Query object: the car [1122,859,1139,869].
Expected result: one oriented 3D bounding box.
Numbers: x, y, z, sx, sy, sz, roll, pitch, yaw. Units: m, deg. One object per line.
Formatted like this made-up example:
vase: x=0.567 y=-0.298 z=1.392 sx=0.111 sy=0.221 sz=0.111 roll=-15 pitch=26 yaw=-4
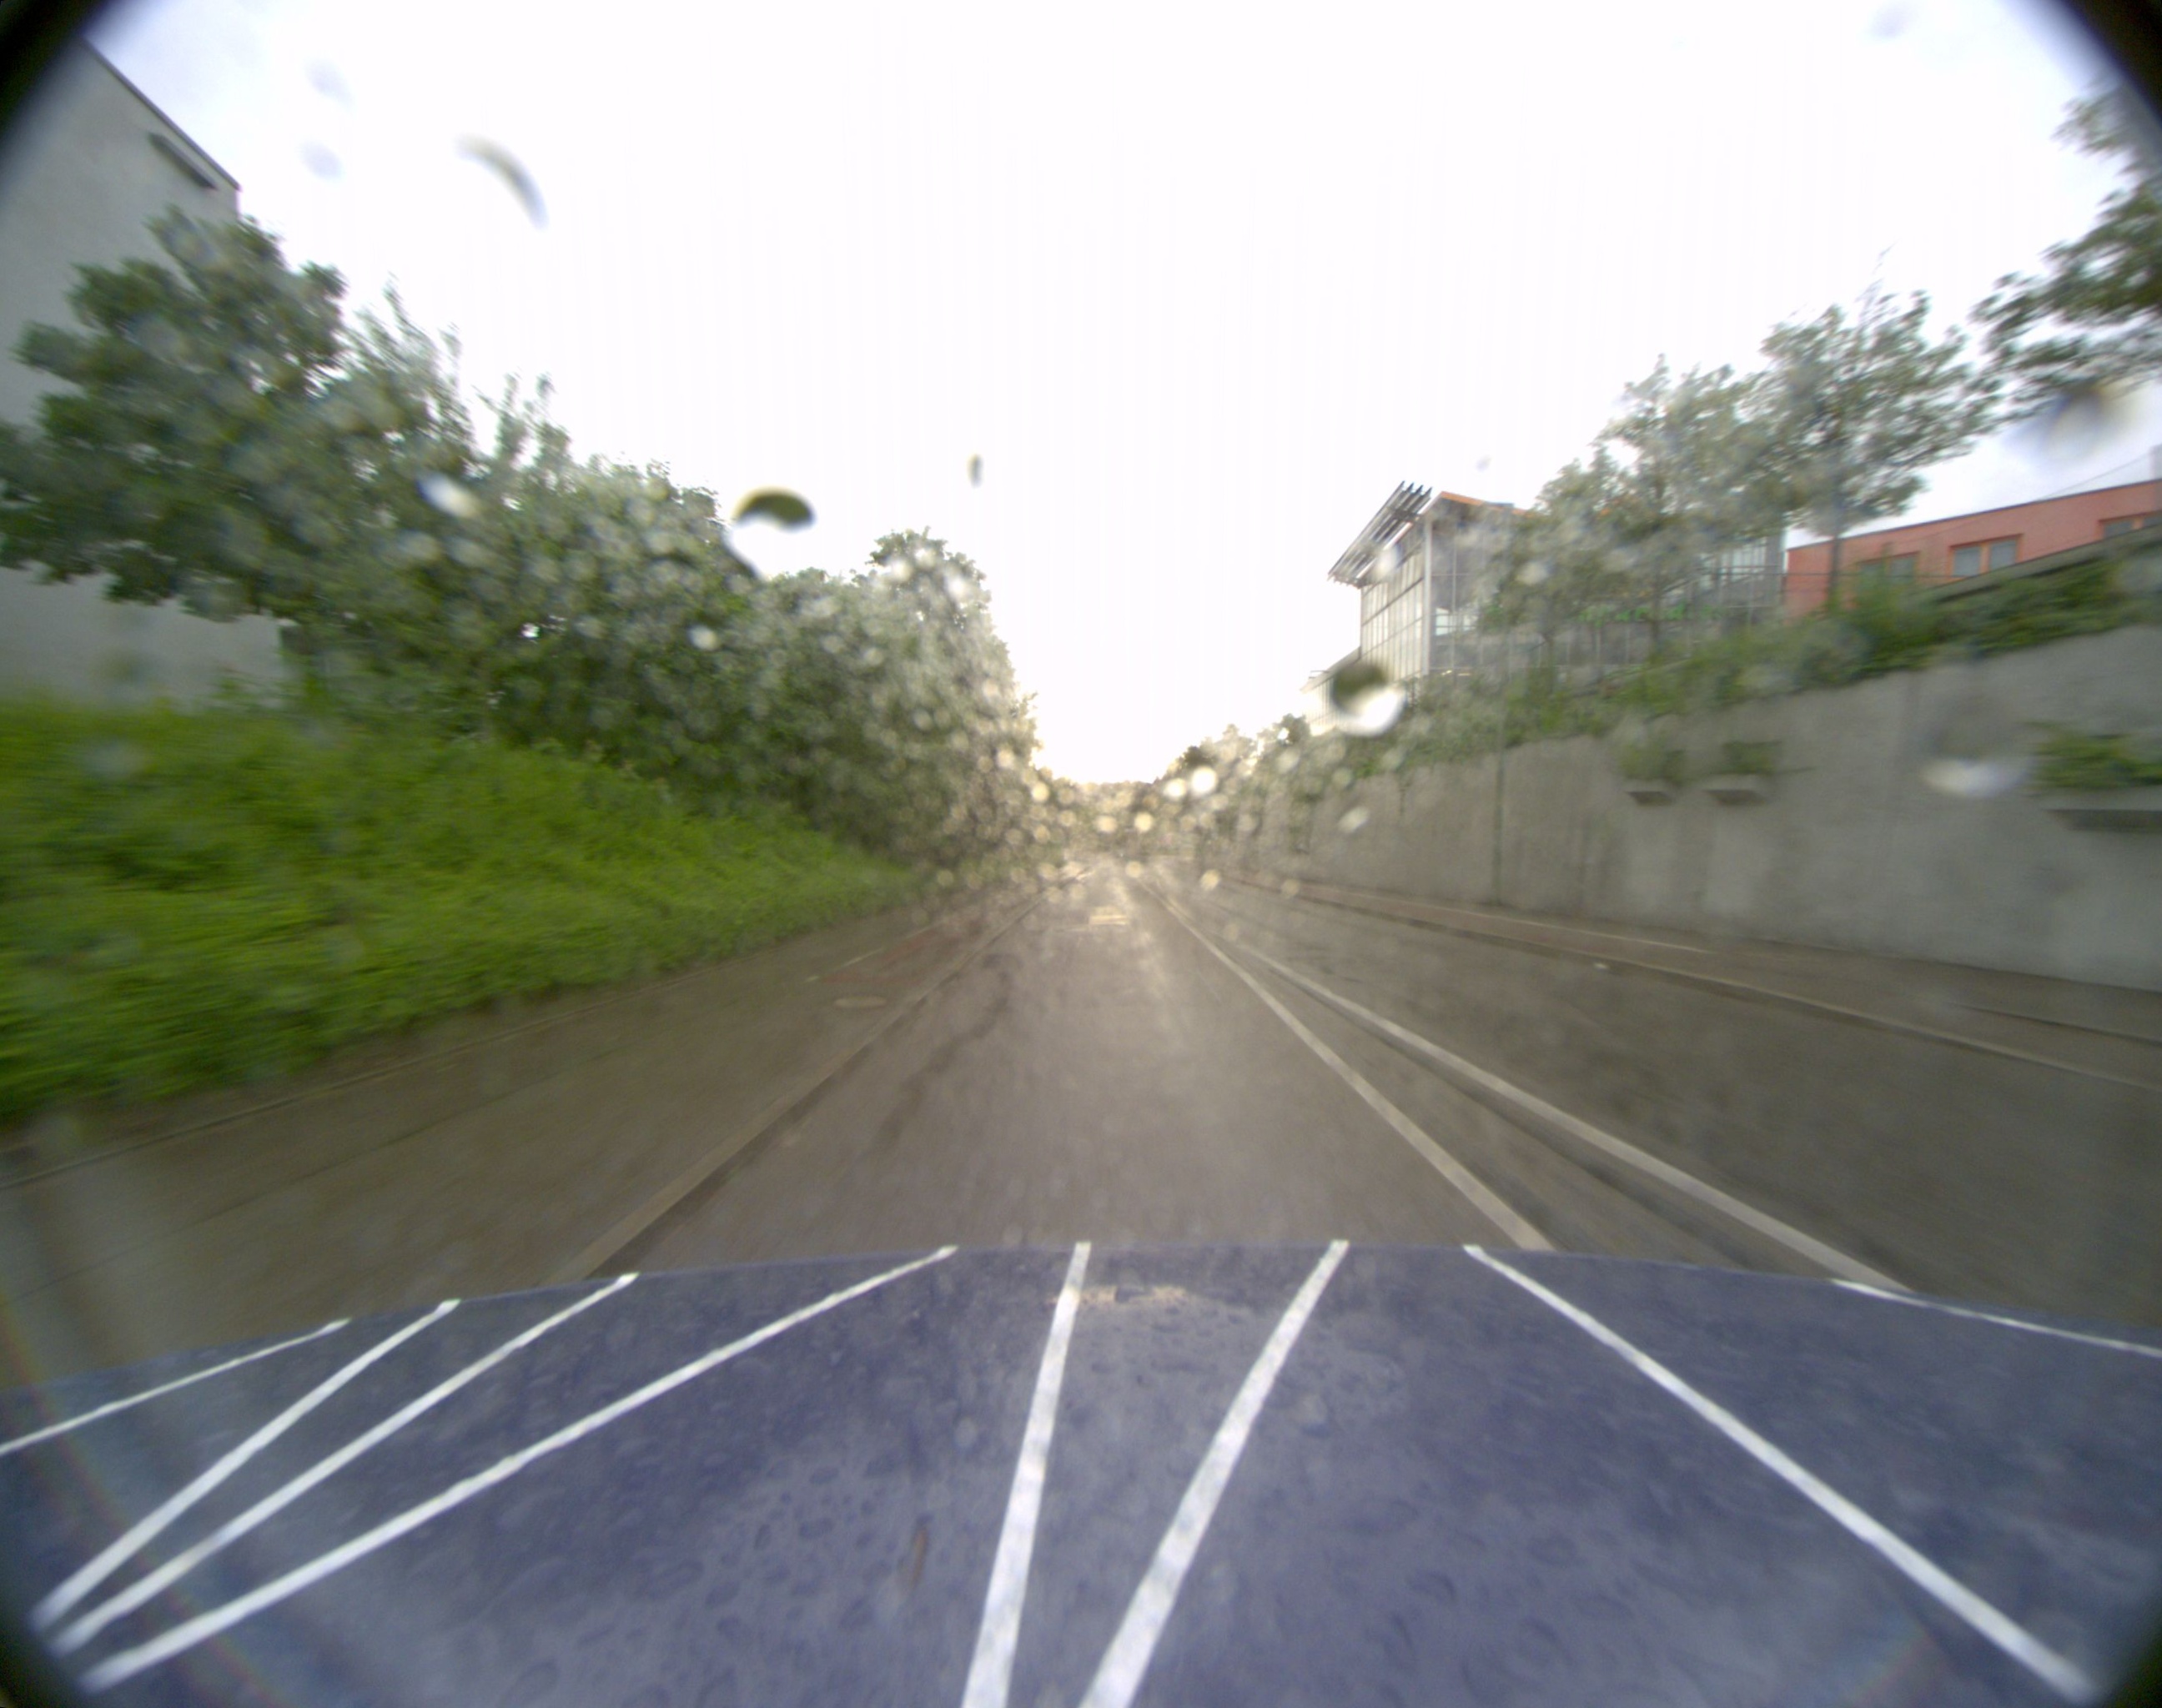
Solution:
car: x=8.022 y=1.638 z=123.689 sx=2.000 sy=1.622 sz=3.996 roll=1 pitch=0 yaw=-10
